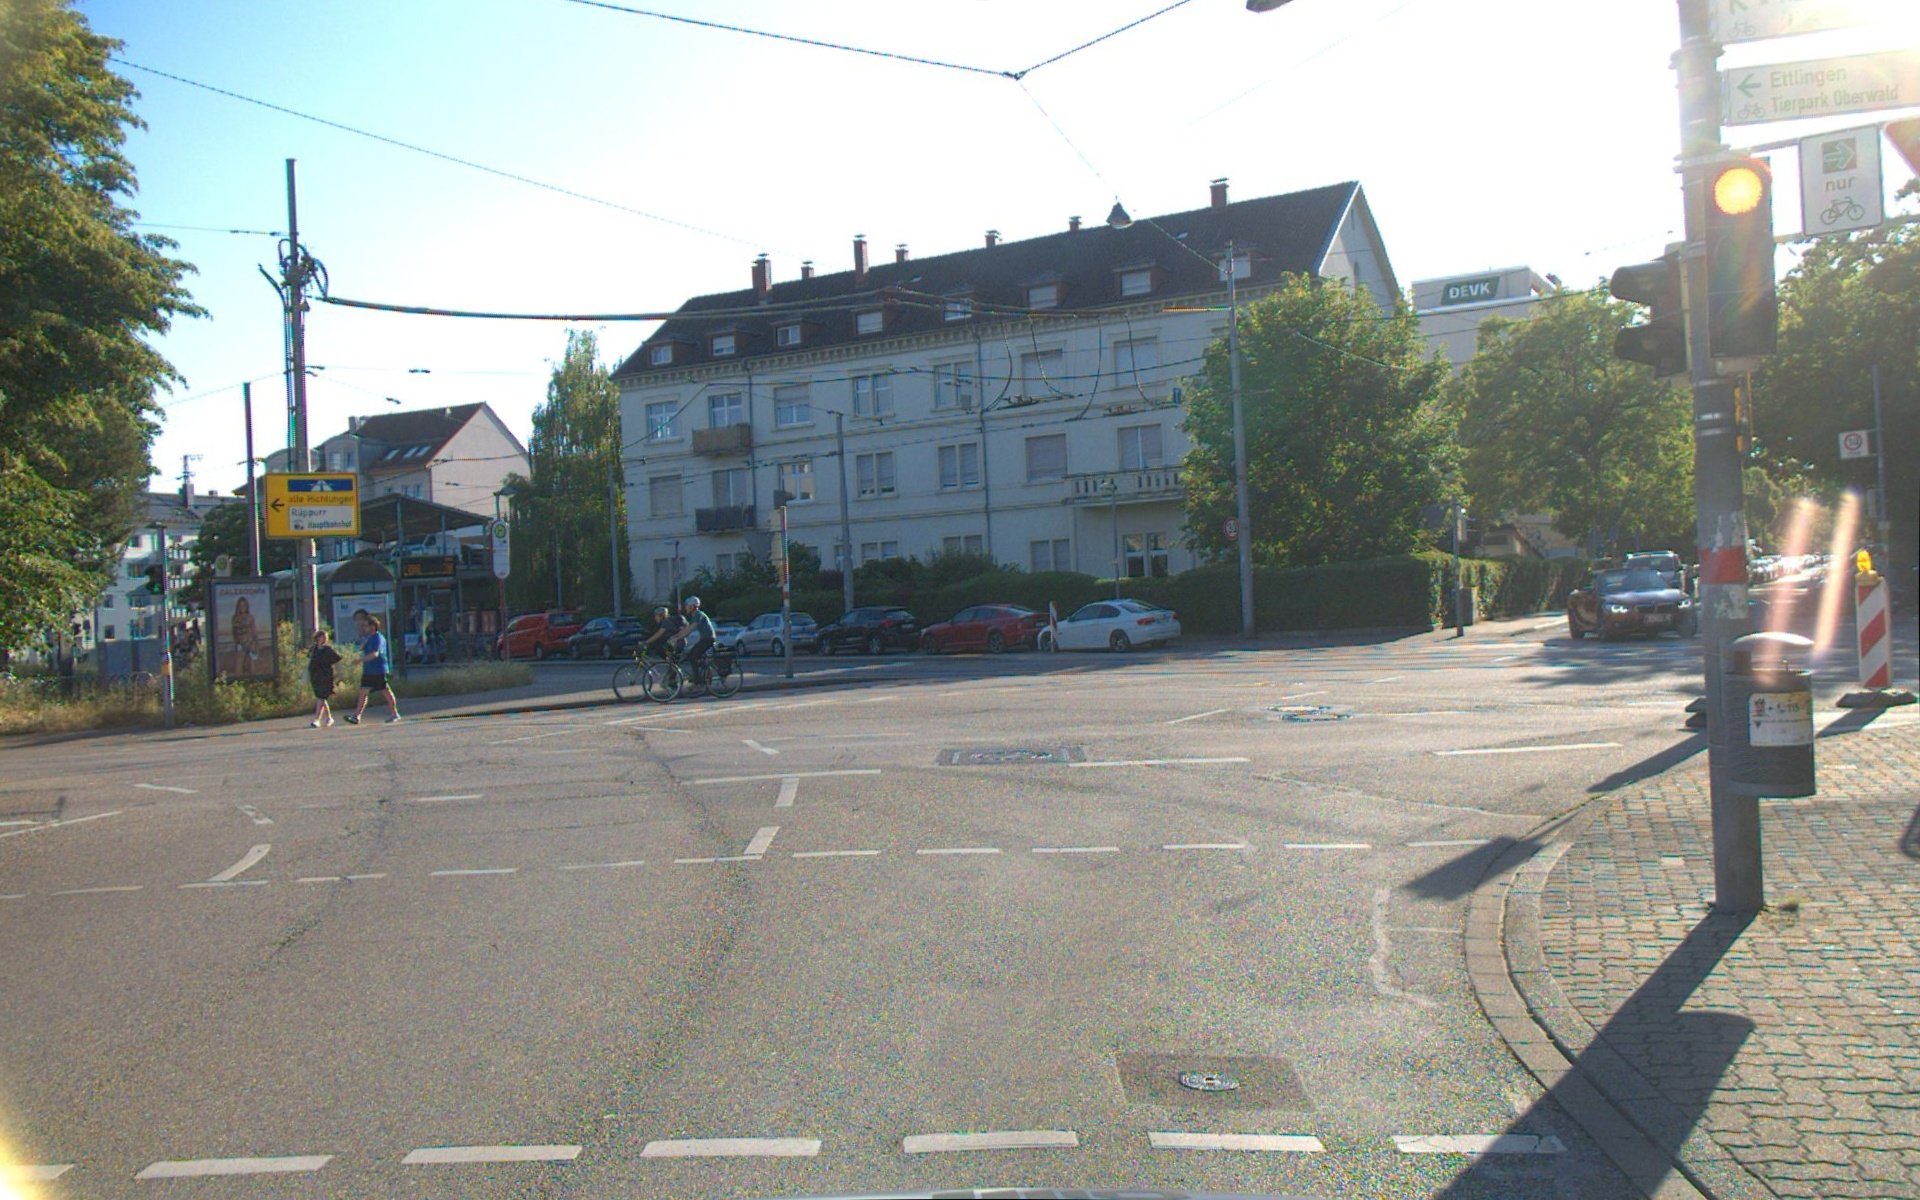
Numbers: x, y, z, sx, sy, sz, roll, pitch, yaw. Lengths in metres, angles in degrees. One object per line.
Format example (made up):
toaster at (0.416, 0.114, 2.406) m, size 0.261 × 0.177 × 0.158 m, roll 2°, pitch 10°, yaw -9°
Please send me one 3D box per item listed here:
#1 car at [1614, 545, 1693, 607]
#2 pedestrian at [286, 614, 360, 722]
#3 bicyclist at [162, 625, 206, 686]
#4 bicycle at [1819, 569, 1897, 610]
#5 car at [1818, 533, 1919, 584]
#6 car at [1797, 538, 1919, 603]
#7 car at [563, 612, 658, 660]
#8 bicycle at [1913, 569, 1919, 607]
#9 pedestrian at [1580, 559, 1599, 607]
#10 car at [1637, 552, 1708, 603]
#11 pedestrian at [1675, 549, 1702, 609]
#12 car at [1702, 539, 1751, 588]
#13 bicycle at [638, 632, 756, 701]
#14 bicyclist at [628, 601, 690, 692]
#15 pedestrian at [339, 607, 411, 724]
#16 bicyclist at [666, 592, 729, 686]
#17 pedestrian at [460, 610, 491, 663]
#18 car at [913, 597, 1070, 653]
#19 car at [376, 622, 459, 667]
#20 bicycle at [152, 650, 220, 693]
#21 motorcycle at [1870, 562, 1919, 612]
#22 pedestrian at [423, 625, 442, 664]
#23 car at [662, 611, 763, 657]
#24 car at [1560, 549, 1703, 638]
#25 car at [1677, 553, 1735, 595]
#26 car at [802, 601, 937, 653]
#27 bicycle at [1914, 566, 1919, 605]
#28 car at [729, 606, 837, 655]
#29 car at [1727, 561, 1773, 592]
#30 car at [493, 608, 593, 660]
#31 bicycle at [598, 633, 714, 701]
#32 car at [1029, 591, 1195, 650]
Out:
car at (25.349, -0.872, 60.331) m, size 2.308 × 2.049 × 5.306 m, roll -3°, pitch 0°, yaw 26°
pedestrian at (-11.035, 1.163, 28.677) m, size 0.895 × 1.777 × 1.066 m, roll -3°, pitch 0°, yaw -8°
bicyclist at (-22.046, 1.567, 47.001) m, size 0.654 × 1.681 × 0.887 m, roll -3°, pitch 0°, yaw 10°
bicycle at (22.775, -0.264, 41.978) m, size 1.691 × 0.949 × 0.671 m, roll -3°, pitch 0°, yaw 29°
car at (40.818, -1.831, 73.116) m, size 4.990 × 1.958 × 2.360 m, roll -3°, pitch -2°, yaw 26°
car at (31.344, -1.020, 55.666) m, size 5.510 × 1.958 × 2.360 m, roll -3°, pitch -2°, yaw 26°
car at (-14.190, 1.476, 66.967) m, size 1.830 × 1.696 × 4.304 m, roll -6°, pitch 2°, yaw -41°
bicycle at (24.733, -0.346, 41.178) m, size 1.691 × 0.949 × 0.561 m, roll -3°, pitch 0°, yaw 29°
pedestrian at (23.795, -0.639, 62.512) m, size 0.567 × 1.761 × 0.608 m, roll -3°, pitch 0°, yaw 23°
car at (28.351, -0.921, 65.757) m, size 2.308 × 1.826 × 5.306 m, roll -3°, pitch 0°, yaw 26°
pedestrian at (23.243, -0.682, 52.761) m, size 0.648 × 1.871 × 0.682 m, roll -3°, pitch 0°, yaw 28°
car at (43.114, -2.038, 92.940) m, size 2.308 × 2.558 × 5.306 m, roll -3°, pitch 0°, yaw 26°
bicycle at (-4.592, 1.152, 28.896) m, size 1.976 × 1.087 × 0.662 m, roll -3°, pitch 0°, yaw -10°
bicyclist at (-5.428, 0.829, 29.869) m, size 1.015 × 1.558 × 0.659 m, roll -3°, pitch 0°, yaw -9°
pedestrian at (-10.220, 1.125, 28.927) m, size 0.895 × 1.958 × 1.065 m, roll -3°, pitch 0°, yaw -8°
bicyclist at (-4.578, 0.672, 28.900) m, size 1.015 × 1.558 × 0.696 m, roll -3°, pitch 0°, yaw -9°
pedestrian at (-19.106, 1.426, 65.196) m, size 0.914 × 2.049 × 0.759 m, roll -3°, pitch 0°, yaw -37°
car at (0.915, 0.767, 50.120) m, size 4.625 × 1.400 × 1.974 m, roll -3°, pitch 2°, yaw 44°
car at (-27.189, 2.230, 82.782) m, size 2.039 × 1.995 × 5.073 m, roll -6°, pitch 2°, yaw -41°
bicycle at (-21.999, 2.013, 47.038) m, size 0.647 × 1.087 × 2.021 m, roll -3°, pitch 0°, yaw 11°
motorcycle at (22.936, -0.330, 39.589) m, size 1.912 × 1.128 × 0.837 m, roll -3°, pitch 0°, yaw 24°
pedestrian at (-21.094, 1.789, 66.121) m, size 0.560 × 1.527 × 0.672 m, roll -3°, pitch 0°, yaw -29°
car at (-9.173, 1.271, 61.209) m, size 1.830 × 1.472 × 3.899 m, roll -6°, pitch 2°, yaw -41°
car at (13.587, -0.105, 33.730) m, size 1.853 × 1.591 × 4.396 m, roll -3°, pitch -1°, yaw 12°
car at (35.644, -1.253, 78.968) m, size 2.308 × 1.826 × 5.306 m, roll -3°, pitch 0°, yaw 26°
car at (-3.029, 0.909, 54.568) m, size 1.970 × 1.472 × 4.634 m, roll -6°, pitch 2°, yaw -41°
bicycle at (24.373, -0.400, 40.499) m, size 1.691 × 0.949 × 0.561 m, roll -3°, pitch 0°, yaw 29°
car at (-6.209, 1.083, 57.763) m, size 1.970 × 1.472 × 3.663 m, roll -6°, pitch 2°, yaw -41°
car at (51.024, -1.540, 106.760) m, size 2.310 × 1.826 × 5.301 m, roll -3°, pitch 0°, yaw 29°
car at (-18.161, 1.518, 71.946) m, size 2.039 × 1.995 × 5.073 m, roll -6°, pitch 2°, yaw -41°
bicycle at (-5.469, 1.202, 29.862) m, size 1.975 × 1.087 × 0.662 m, roll -3°, pitch 0°, yaw -9°
car at (4.200, 0.590, 46.177) m, size 1.916 × 1.400 × 4.426 m, roll -6°, pitch 2°, yaw -43°
